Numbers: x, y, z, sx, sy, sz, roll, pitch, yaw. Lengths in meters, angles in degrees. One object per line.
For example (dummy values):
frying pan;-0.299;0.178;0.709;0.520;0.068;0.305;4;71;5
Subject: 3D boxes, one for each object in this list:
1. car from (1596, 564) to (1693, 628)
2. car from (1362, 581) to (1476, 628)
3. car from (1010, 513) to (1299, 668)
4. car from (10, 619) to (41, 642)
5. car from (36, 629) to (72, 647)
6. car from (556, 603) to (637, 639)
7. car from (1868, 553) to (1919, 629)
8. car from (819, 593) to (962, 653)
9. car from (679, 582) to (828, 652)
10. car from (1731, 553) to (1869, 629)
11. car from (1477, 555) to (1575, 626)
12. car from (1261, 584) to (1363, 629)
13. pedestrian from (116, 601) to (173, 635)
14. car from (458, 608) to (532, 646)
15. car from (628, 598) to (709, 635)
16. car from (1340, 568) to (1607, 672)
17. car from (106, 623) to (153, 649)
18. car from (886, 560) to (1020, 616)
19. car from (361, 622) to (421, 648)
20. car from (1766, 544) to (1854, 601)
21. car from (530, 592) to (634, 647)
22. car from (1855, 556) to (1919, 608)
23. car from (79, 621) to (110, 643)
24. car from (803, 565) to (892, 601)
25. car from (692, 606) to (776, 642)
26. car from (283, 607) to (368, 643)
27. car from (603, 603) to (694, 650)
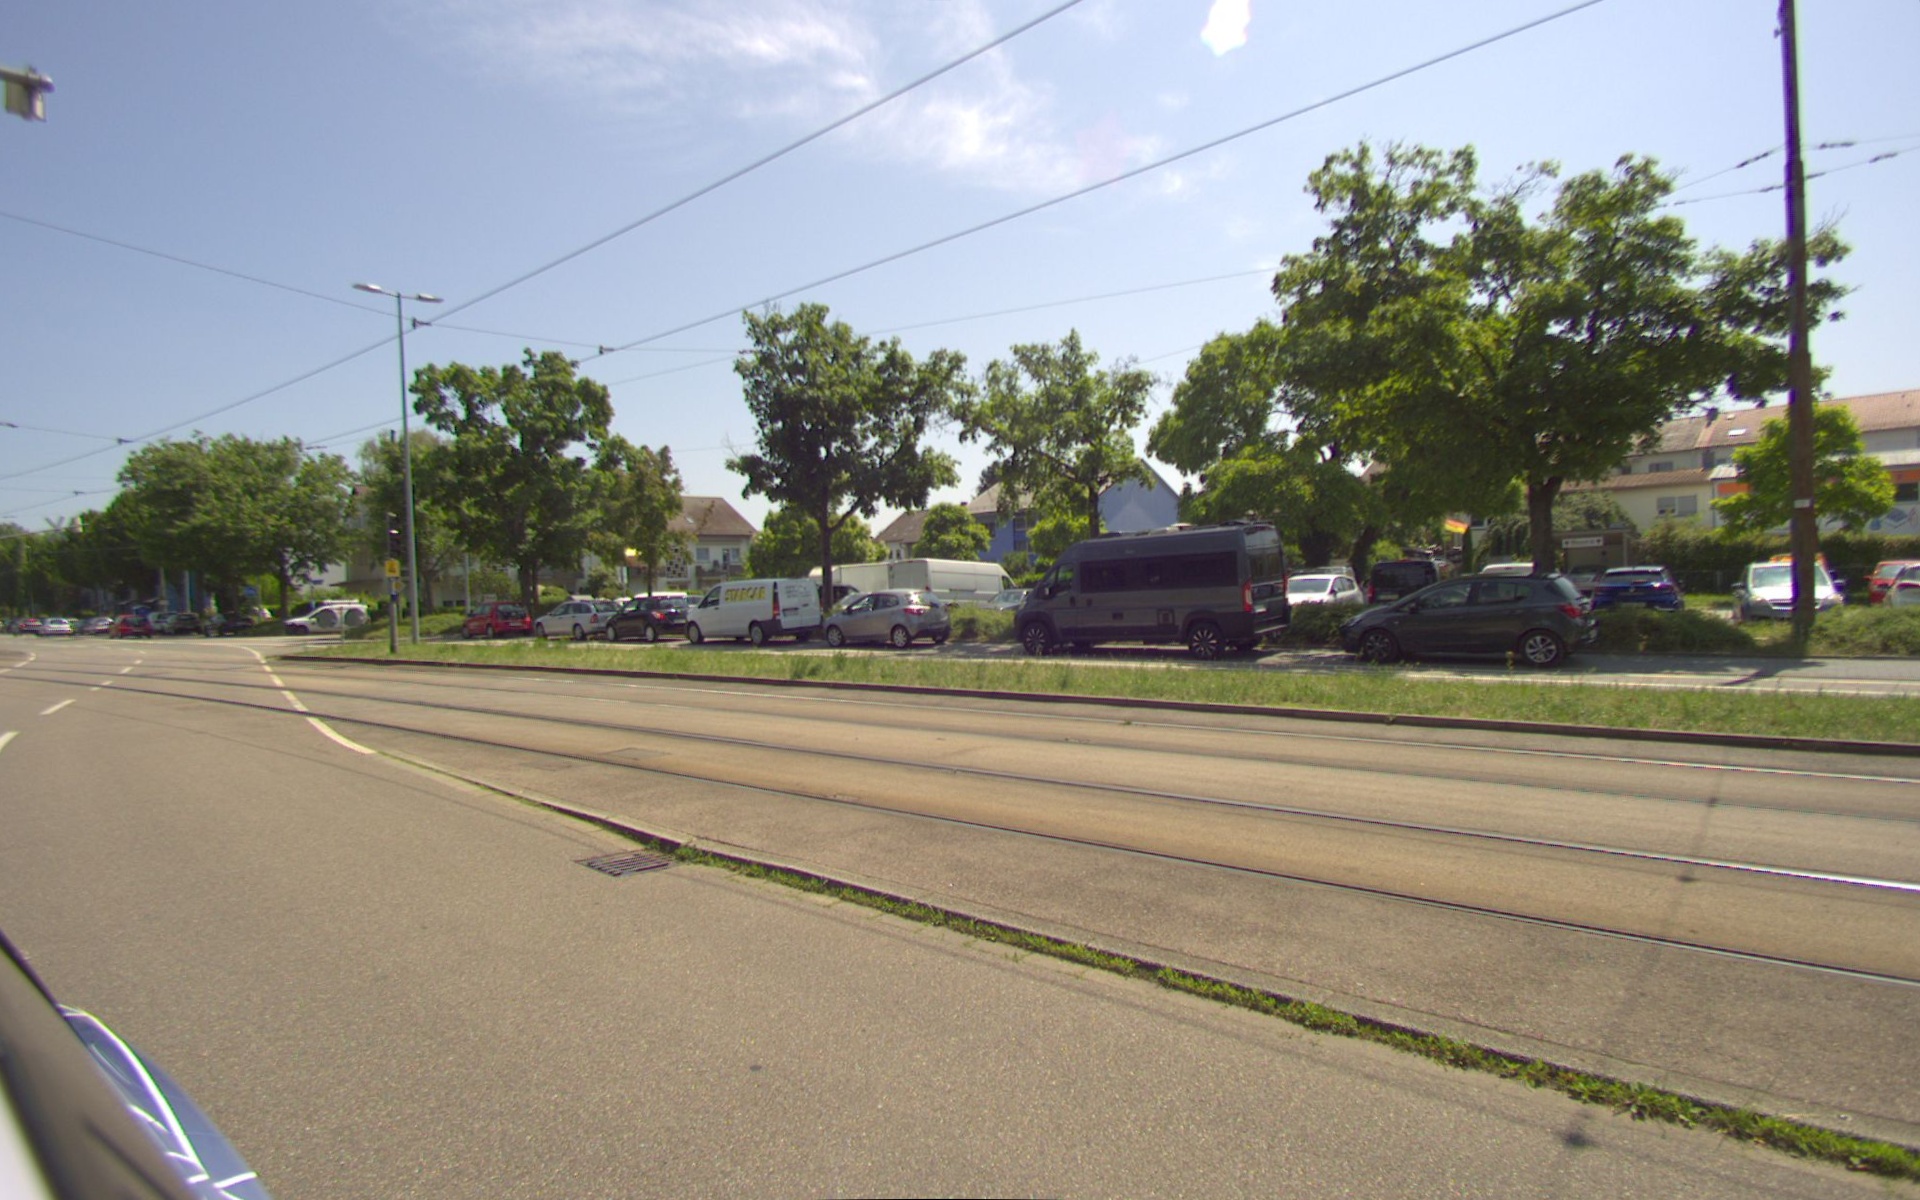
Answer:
car;16.788;-0.074;24.735;1.794;1.417;3.951;-2;-1;36
car;12.730;0.095;27.918;2.029;1.152;4.211;-2;0;36
car;3.976;-0.160;21.416;5.665;2.859;2.215;-1;0;41
car;-83.402;2.697;90.323;3.754;1.933;1.757;-1;0;42
car;-71.178;2.975;79.515;3.754;1.328;1.757;-1;0;42
car;-20.043;1.147;55.925;1.712;1.888;3.954;-1;0;34
car;20.614;-0.238;21.123;1.827;1.501;4.031;-2;0;33
car;-1.879;0.565;26.752;3.607;1.475;1.744;-1;0;42
car;-6.268;0.489;30.432;4.815;1.963;1.899;-1;0;42
car;18.489;-0.207;22.461;1.862;1.499;3.955;-2;0;33
car;15.038;-0.258;26.794;1.794;1.730;3.951;-2;0;36
car;10.314;0.166;29.497;1.732;1.152;3.951;-2;0;36
pedestrian;-49.878;1.067;61.858;3.997;2.029;1.973;-1;0;40
car;-19.087;1.082;41.469;3.423;1.491;1.561;-1;0;42
car;-15.421;0.843;53.664;1.712;1.888;3.954;-1;0;34
car;8.785;0.319;17.449;3.750;1.589;1.950;-1;0;41
car;-51.464;2.185;62.724;3.423;1.491;1.796;-1;0;42
car;-0.180;-0.437;38.357;2.028;1.970;5.363;-1;0;42
car;-27.848;1.690;49.497;3.423;1.167;1.561;-1;0;42
car;27.071;-0.834;32.340;1.689;1.665;4.082;-2;0;34
car;-13.957;0.703;37.234;4.494;1.907;1.614;-1;0;40
car;29.128;-0.542;31.242;1.712;1.505;3.953;-1;0;34
car;-77.779;2.827;90.927;3.982;1.867;1.681;-1;0;42
car;-6.841;-1.001;62.109;2.145;2.078;5.675;-1;0;38
car;-11.186;1.160;50.281;1.712;1.698;3.954;-1;0;34
car;-37.118;1.447;59.239;4.144;2.005;1.826;0;0;-35
car;-10.489;0.862;33.996;3.260;1.489;1.411;-1;0;40
